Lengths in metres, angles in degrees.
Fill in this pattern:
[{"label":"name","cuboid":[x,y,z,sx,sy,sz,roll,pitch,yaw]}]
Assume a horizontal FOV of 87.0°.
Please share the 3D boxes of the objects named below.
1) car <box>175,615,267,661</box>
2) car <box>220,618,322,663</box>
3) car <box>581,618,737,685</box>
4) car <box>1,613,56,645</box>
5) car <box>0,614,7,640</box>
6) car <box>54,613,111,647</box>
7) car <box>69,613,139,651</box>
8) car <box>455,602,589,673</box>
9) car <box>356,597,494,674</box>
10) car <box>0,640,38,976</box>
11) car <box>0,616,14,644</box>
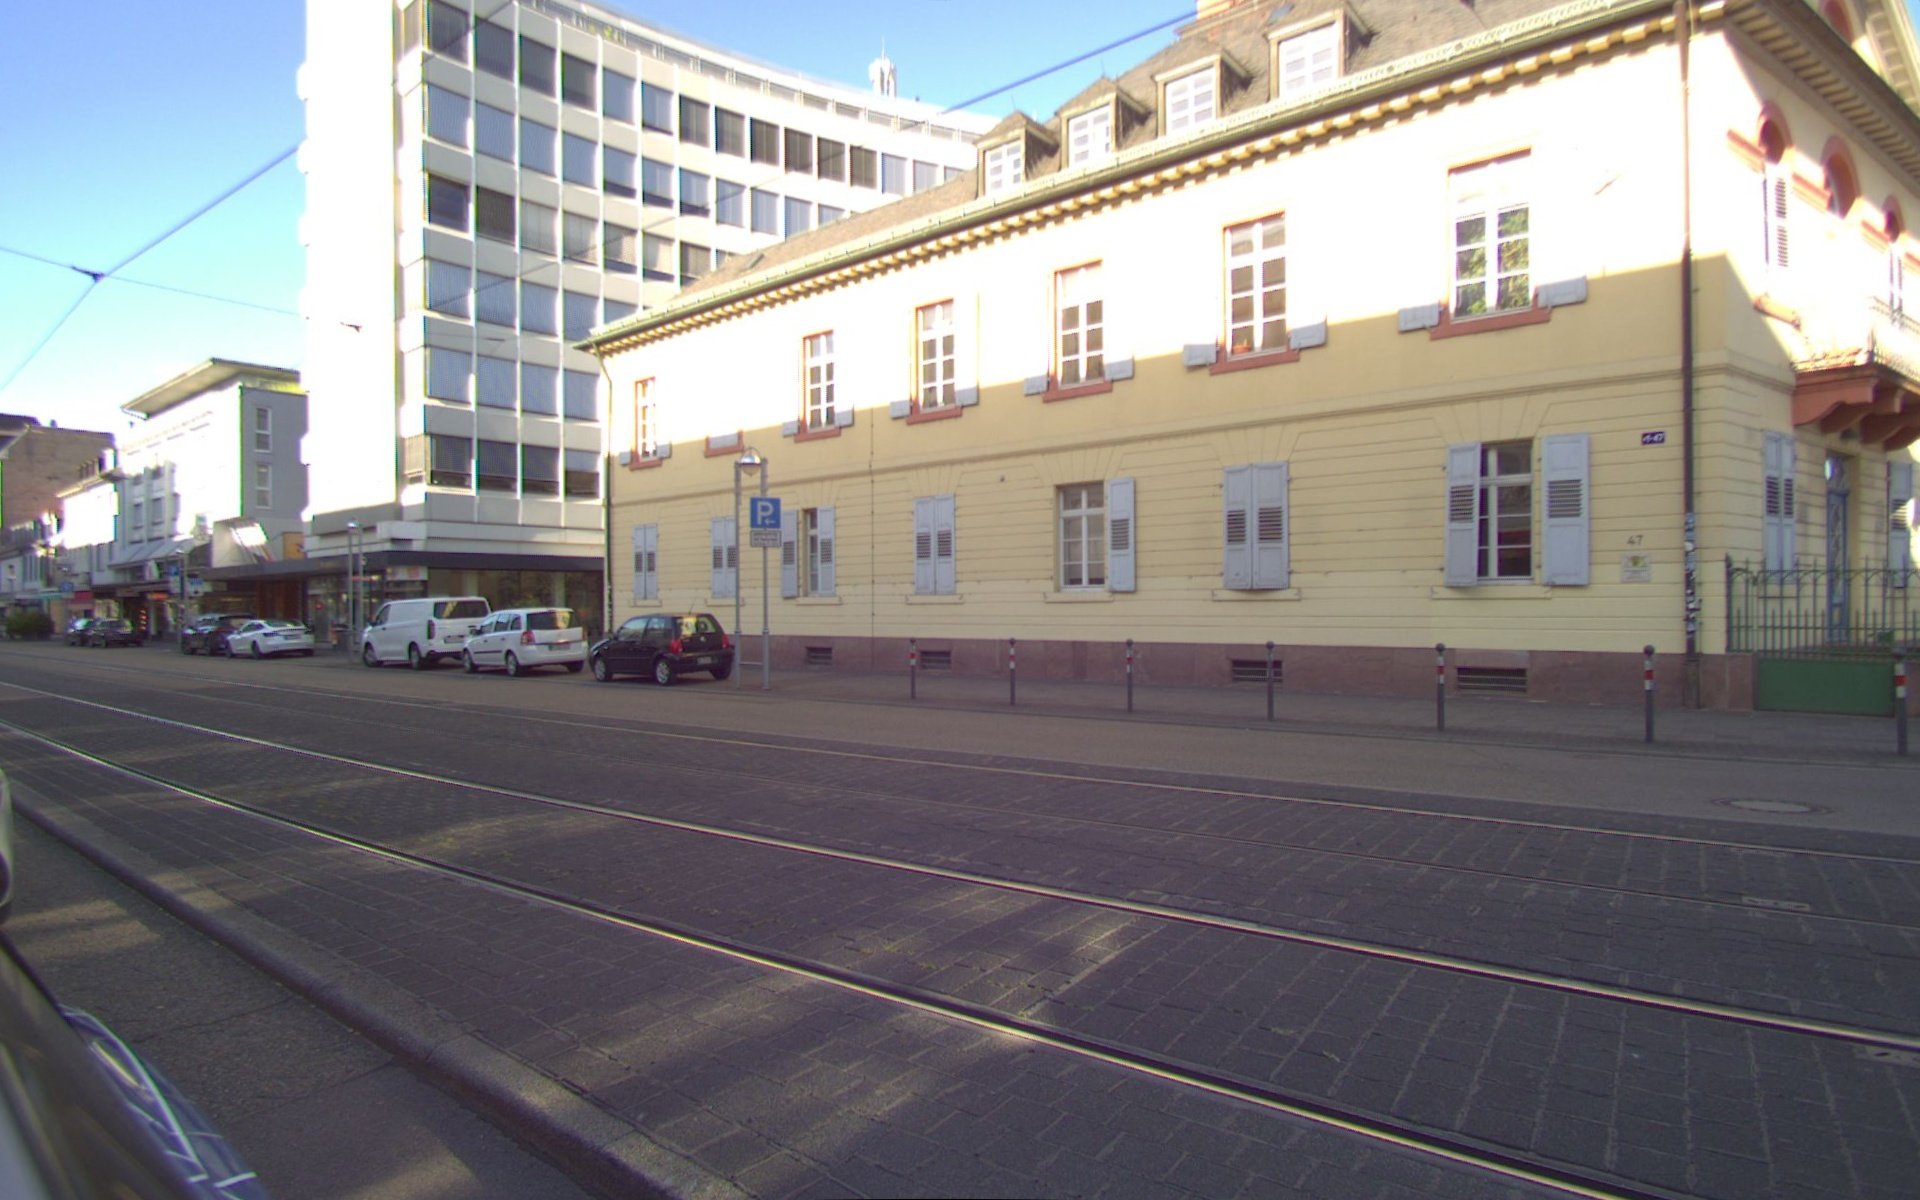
[{"label":"car","cuboid":[-29.866,1.495,40.880,4.103,1.717,1.975,-1,0,38]},{"label":"car","cuboid":[-25.649,1.449,37.611,4.369,1.541,1.974,-1,0,39]},{"label":"car","cuboid":[-6.426,1.045,21.491,3.210,1.263,1.667,-1,0,39]},{"label":"car","cuboid":[-62.706,1.953,68.090,3.996,2.058,2.172,-1,-1,39]},{"label":"car","cuboid":[-78.790,2.191,81.846,3.995,2.029,1.974,-1,0,38]},{"label":"car","cuboid":[-50.170,1.689,57.831,3.994,1.896,1.768,-1,-1,38]},{"label":"car","cuboid":[-43.993,1.604,51.990,3.995,1.874,1.974,-1,0,38]},{"label":"car","cuboid":[-11.007,0.895,25.327,4.005,1.621,1.619,-1,0,43]},{"label":"car","cuboid":[-15.362,0.974,28.953,4.619,2.029,2.014,-1,-1,41]},{"label":"car","cuboid":[-6.102,0.905,4.761,3.992,1.393,1.862,-1,0,36]},{"label":"car","cuboid":[-71.160,2.215,74.424,3.998,2.029,1.973,-1,-1,41]}]
